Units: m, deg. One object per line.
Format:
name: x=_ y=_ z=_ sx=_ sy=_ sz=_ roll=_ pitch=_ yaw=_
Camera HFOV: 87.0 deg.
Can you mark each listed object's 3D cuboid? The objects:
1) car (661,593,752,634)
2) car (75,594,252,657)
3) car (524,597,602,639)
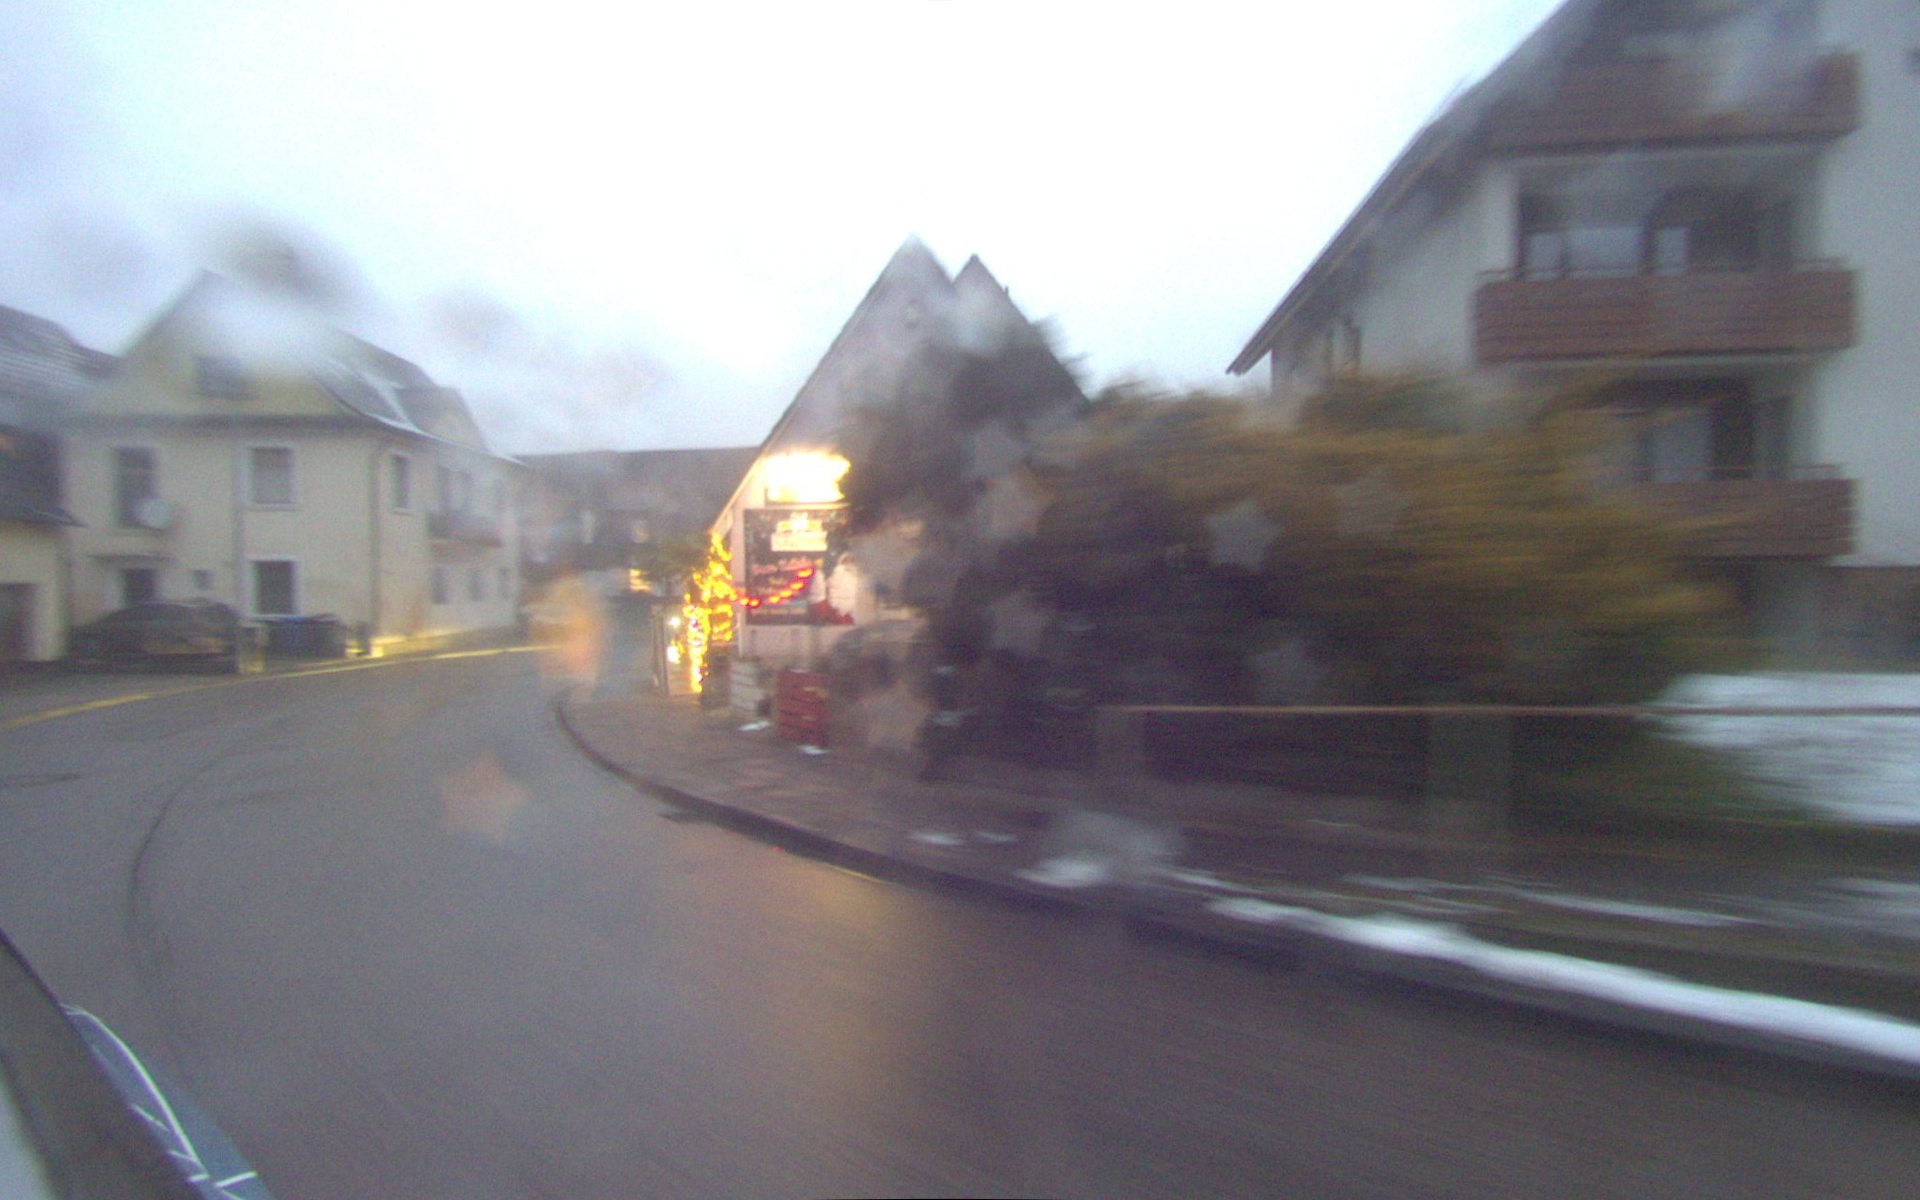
car: x=-10.659 y=0.530 z=42.904 sx=1.974 sy=1.569 sz=4.216 roll=-1 pitch=1 yaw=15
car: x=-21.174 y=0.660 z=26.996 sx=3.444 sy=1.517 sz=1.648 roll=2 pitch=0 yaw=2
car: x=-16.502 y=0.712 z=42.317 sx=1.786 sy=1.498 sz=4.282 roll=2 pitch=2 yaw=-3
